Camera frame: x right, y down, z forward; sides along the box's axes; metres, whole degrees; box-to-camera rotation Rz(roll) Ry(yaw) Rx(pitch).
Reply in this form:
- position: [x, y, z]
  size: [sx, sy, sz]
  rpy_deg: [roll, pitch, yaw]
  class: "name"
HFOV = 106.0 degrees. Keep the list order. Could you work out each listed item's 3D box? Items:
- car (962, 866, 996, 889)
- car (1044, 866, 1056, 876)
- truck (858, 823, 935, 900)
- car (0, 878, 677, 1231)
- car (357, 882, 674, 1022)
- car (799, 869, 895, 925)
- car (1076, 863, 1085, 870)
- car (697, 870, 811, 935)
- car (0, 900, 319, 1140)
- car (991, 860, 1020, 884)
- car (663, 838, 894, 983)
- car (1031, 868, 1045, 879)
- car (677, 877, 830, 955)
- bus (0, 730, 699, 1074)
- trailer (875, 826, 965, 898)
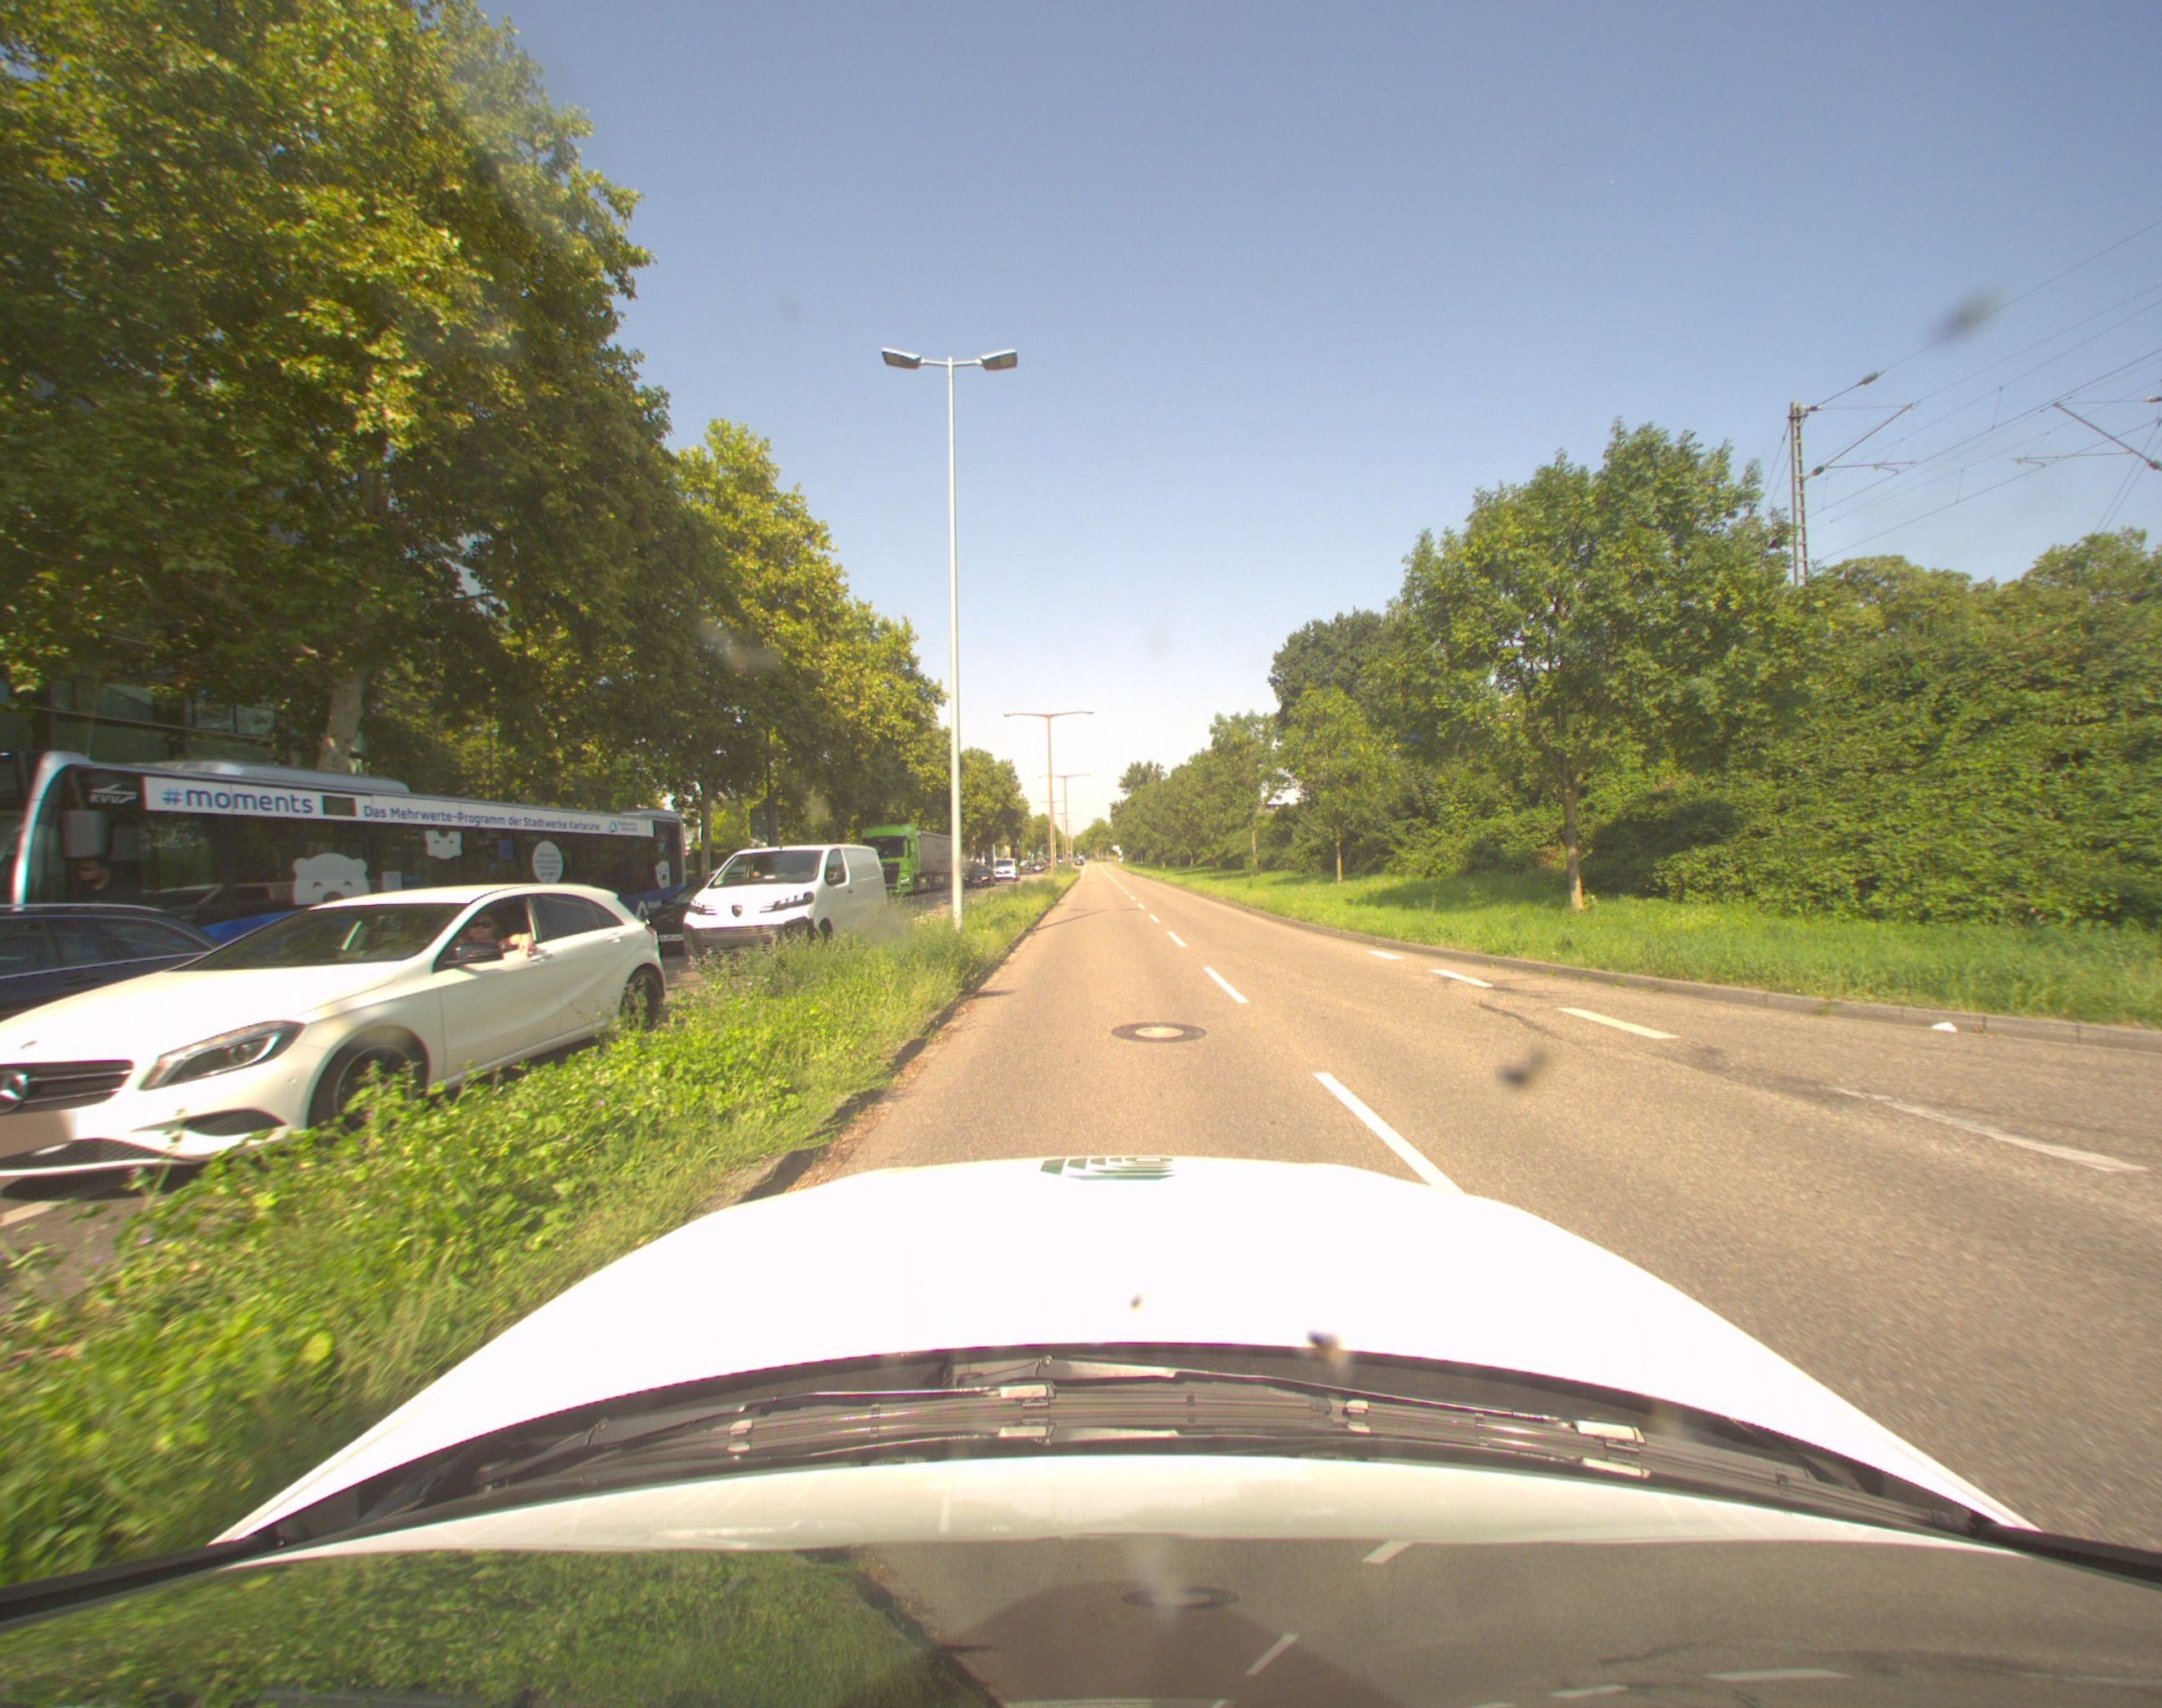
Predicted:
- position: [-6.677, 1.530, 53.607]
  size: [1.608, 1.399, 3.859]
  rpy_deg: [-3, -1, 2]
  class: "car"
- position: [-5.637, 3.046, 148.356]
  size: [1.947, 1.724, 4.587]
  rpy_deg: [-2, -1, 1]
  class: "car"
- position: [-9.949, 0.432, 44.595]
  size: [2.599, 3.820, 5.891]
  rpy_deg: [-3, -1, 0]
  class: "truck"
- position: [-4.747, 0.976, 5.666]
  size: [1.703, 1.402, 4.084]
  rpy_deg: [-3, 0, 1]
  class: "car"
- position: [-7.614, 1.215, 11.492]
  size: [1.700, 1.467, 3.821]
  rpy_deg: [-3, -1, 0]
  class: "car"
- position: [-7.082, 1.248, 25.087]
  size: [1.689, 1.529, 4.140]
  rpy_deg: [-1, -1, 1]
  class: "car"
- position: [-0.096, 2.653, 171.538]
  size: [1.684, 1.486, 4.004]
  rpy_deg: [-2, -1, 4]
  class: "car"
- position: [-10.695, 1.513, 27.056]
  size: [1.698, 1.888, 4.749]
  rpy_deg: [-3, -1, 1]
  class: "car"
- position: [-7.743, 1.136, 5.289]
  size: [1.700, 1.442, 4.002]
  rpy_deg: [-2, -1, 2]
  class: "car"
- position: [-6.419, 1.499, 69.691]
  size: [1.987, 1.953, 5.035]
  rpy_deg: [-2, -1, 0]
  class: "car"
- position: [-4.687, 0.804, 13.557]
  size: [1.905, 1.864, 4.889]
  rpy_deg: [-3, -1, 0]
  class: "car"
- position: [-6.383, 2.953, 121.484]
  size: [1.741, 1.479, 4.584]
  rpy_deg: [-4, -1, -1]
  class: "car"
- position: [-7.274, 1.305, 18.549]
  size: [1.641, 1.433, 4.190]
  rpy_deg: [-3, -1, 1]
  class: "car"
- position: [-10.649, 0.547, 13.471]
  size: [2.581, 3.080, 12.313]
  rpy_deg: [-1, -1, 1]
  class: "bus"
- position: [-9.852, 0.545, 51.672]
  size: [2.624, 3.822, 13.811]
  rpy_deg: [-3, -1, 1]
  class: "trailer"
